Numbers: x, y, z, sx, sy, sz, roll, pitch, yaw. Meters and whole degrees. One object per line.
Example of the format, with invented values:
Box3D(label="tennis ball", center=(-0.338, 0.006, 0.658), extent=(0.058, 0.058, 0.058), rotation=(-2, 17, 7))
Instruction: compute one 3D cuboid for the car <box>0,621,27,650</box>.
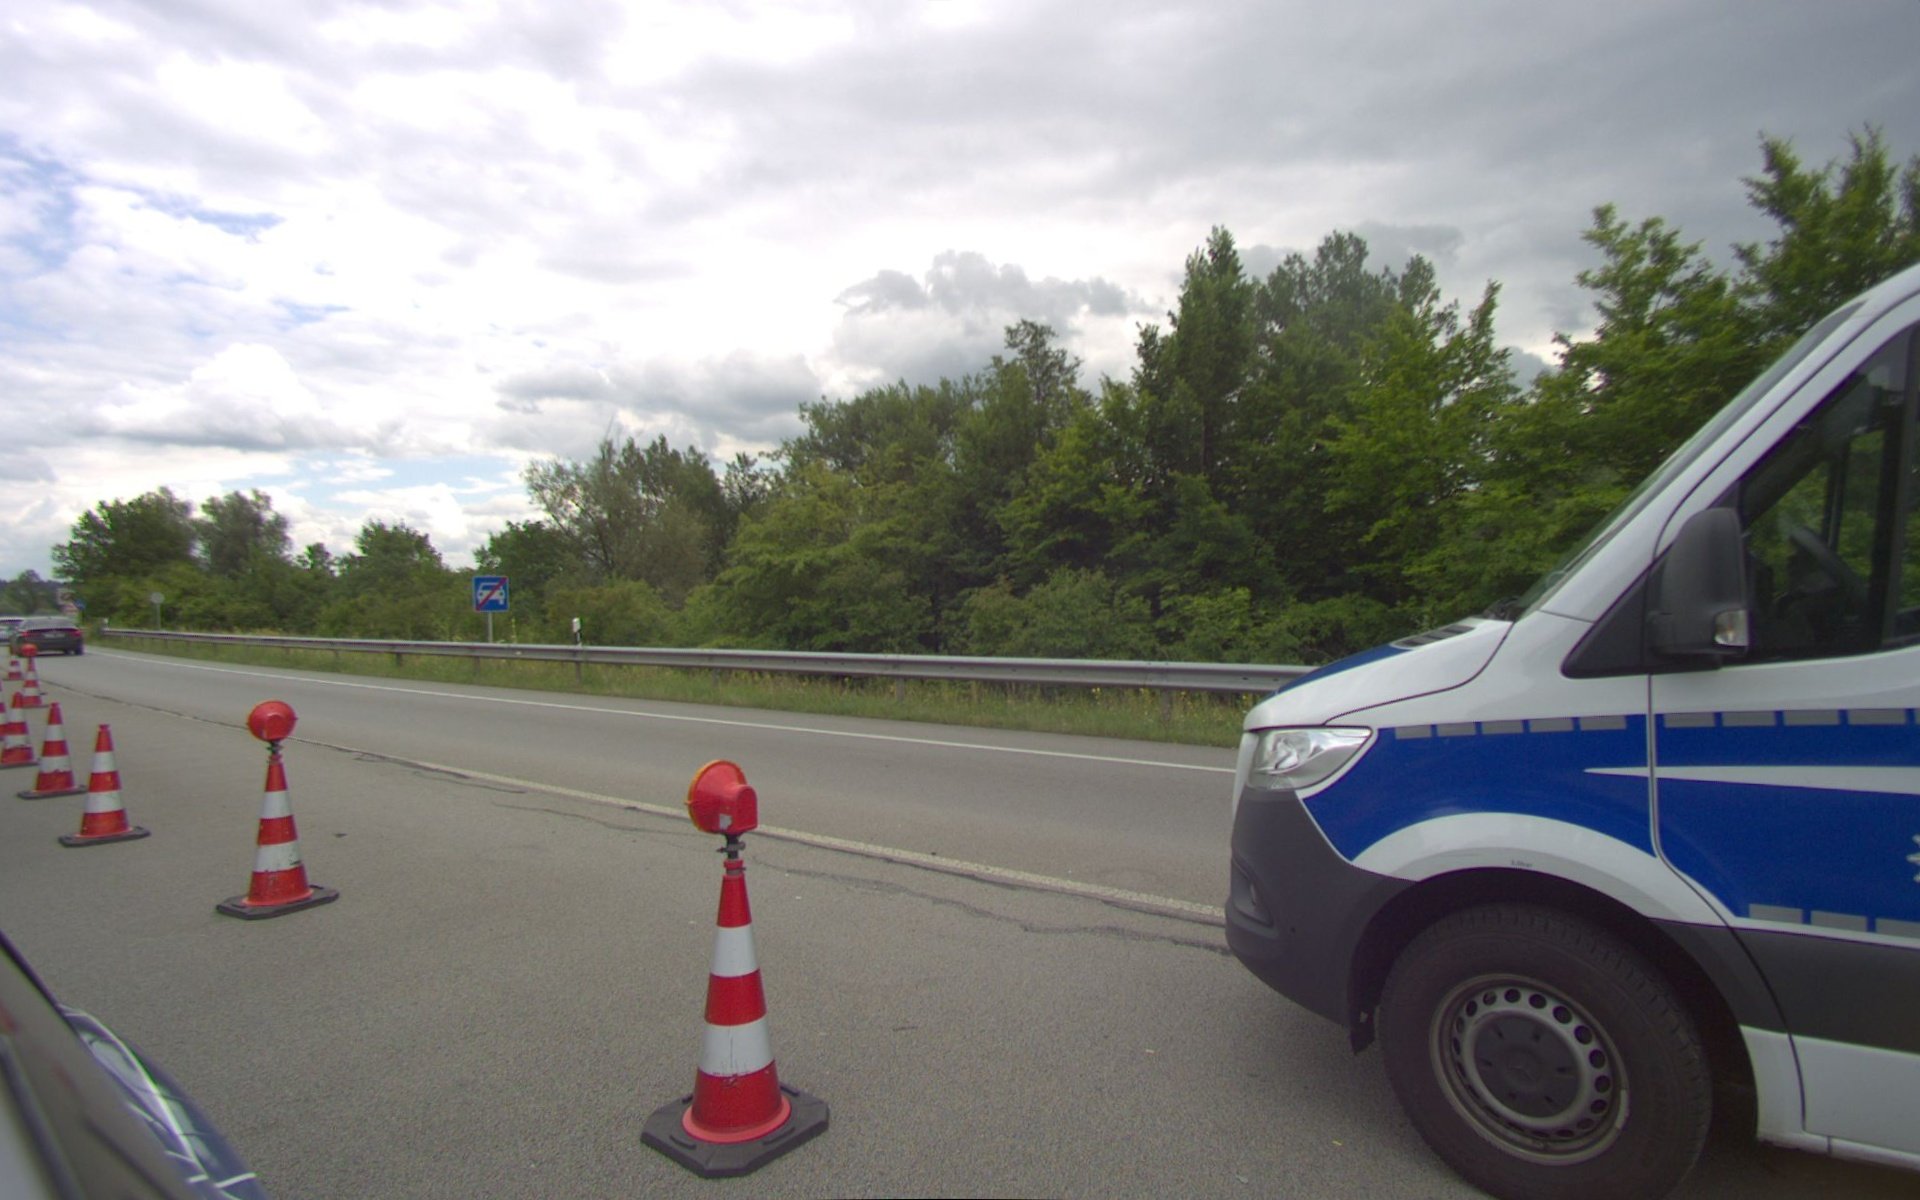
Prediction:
Box3D(label="car", center=(-48.306, 1.763, 50.767), extent=(4.370, 1.412, 1.662), rotation=(-1, -1, 39))

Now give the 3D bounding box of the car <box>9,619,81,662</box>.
Box3D(label="car", center=(-33.902, 1.463, 37.450), extent=(4.338, 1.447, 1.690), rotation=(-1, -1, 44))

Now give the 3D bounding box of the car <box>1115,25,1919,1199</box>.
Box3D(label="car", center=(3.151, 0.143, 2.126), extent=(5.272, 2.482, 2.010), rotation=(-1, -1, 38))
